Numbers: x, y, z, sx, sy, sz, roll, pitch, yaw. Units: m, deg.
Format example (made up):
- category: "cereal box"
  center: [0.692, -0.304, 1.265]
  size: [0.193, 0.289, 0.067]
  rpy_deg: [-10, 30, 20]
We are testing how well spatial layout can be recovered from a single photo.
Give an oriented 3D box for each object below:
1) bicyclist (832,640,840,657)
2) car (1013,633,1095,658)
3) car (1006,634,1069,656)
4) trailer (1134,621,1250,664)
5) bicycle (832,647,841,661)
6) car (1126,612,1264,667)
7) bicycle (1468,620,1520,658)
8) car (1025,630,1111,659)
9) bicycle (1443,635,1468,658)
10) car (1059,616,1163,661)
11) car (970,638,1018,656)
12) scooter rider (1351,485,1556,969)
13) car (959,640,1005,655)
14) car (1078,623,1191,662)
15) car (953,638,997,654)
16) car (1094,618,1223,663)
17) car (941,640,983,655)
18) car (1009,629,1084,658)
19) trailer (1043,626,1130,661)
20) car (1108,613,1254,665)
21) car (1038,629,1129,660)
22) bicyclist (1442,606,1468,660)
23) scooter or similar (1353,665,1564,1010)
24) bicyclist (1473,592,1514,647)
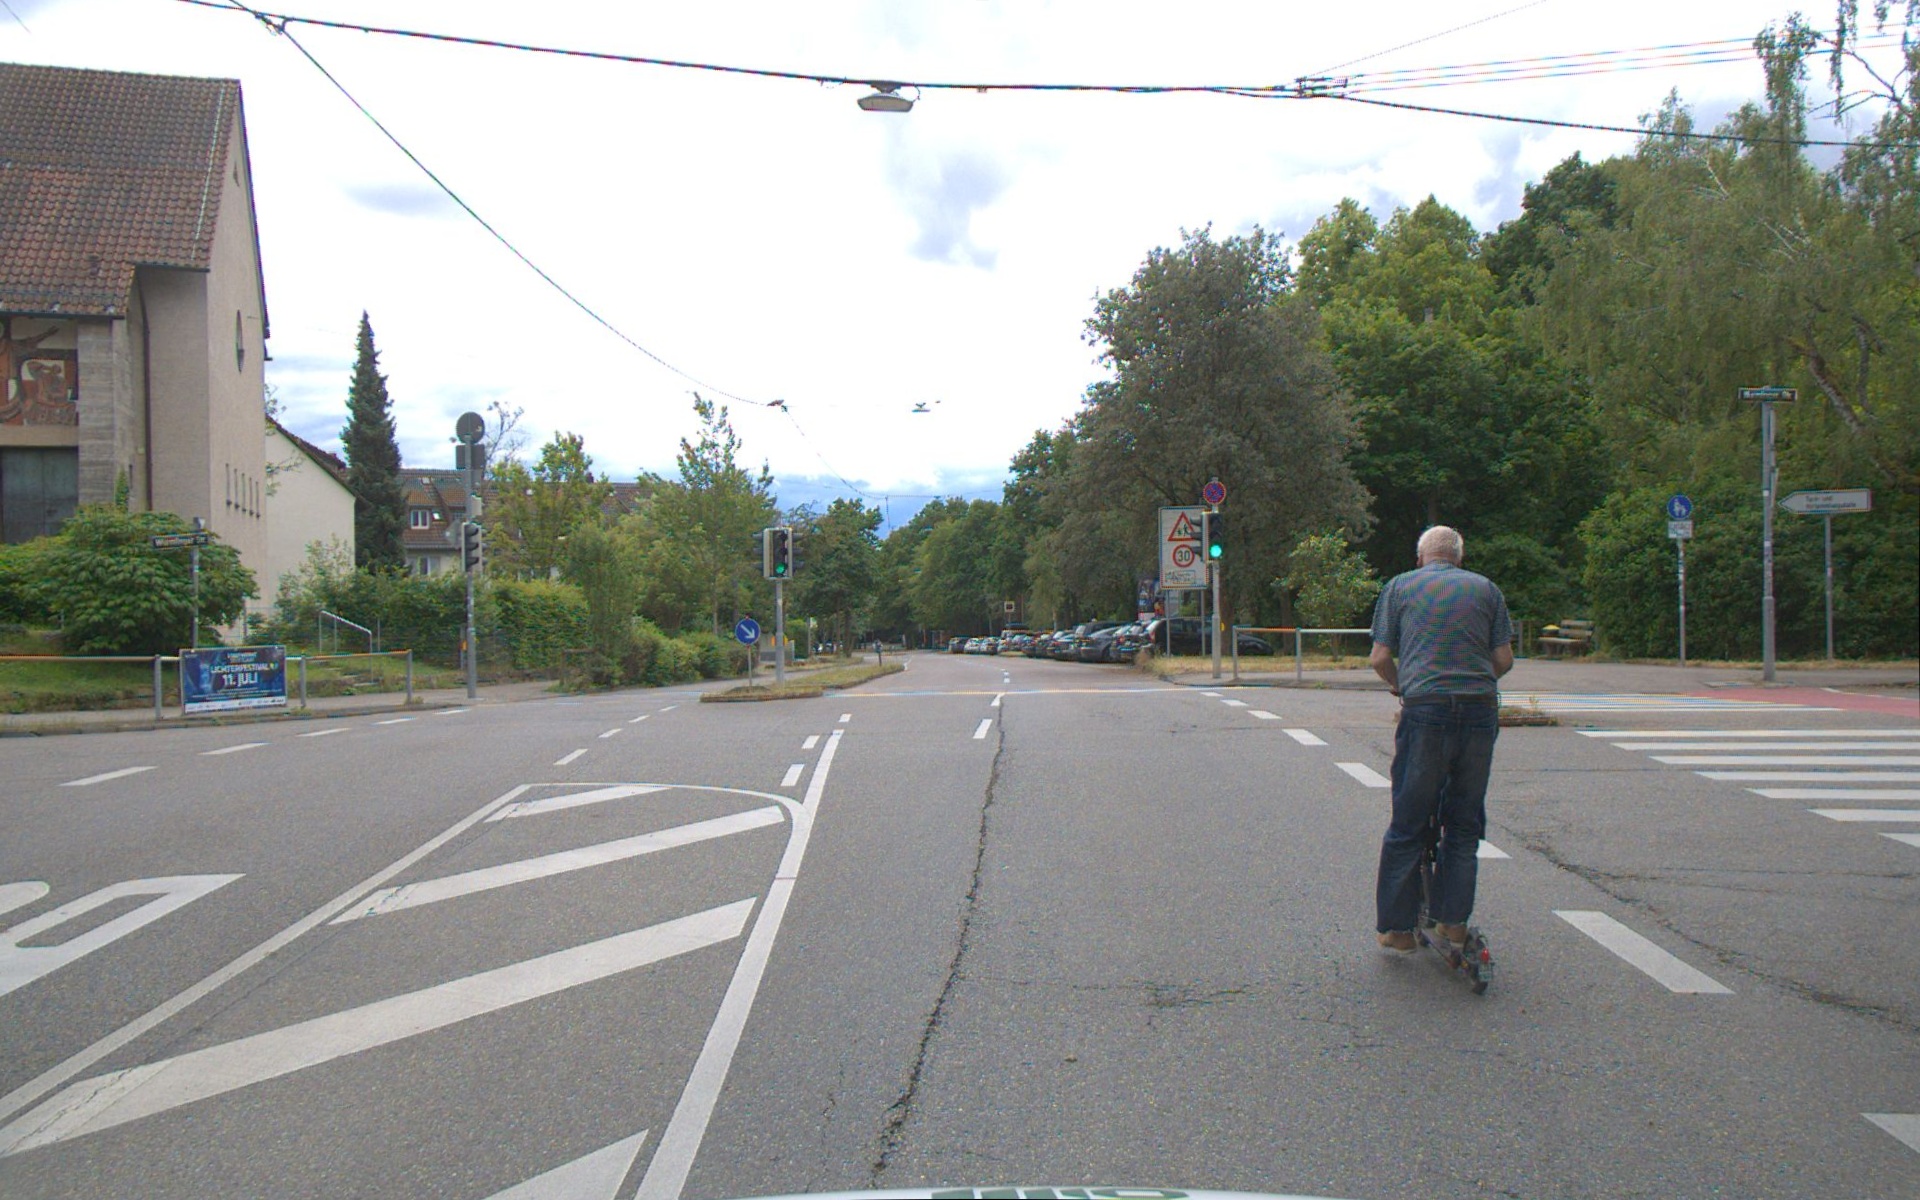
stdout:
- category: "bicyclist"
  center: [-12.590, 4.923, 167.977]
  size: [0.828, 1.727, 0.713]
  rpy_deg: [-1, -1, -3]
- category: "car"
  center: [5.279, 2.550, 92.869]
  size: [4.242, 1.365, 1.726]
  rpy_deg: [0, -2, -16]
- category: "car"
  center: [5.220, 3.029, 111.069]
  size: [3.901, 1.430, 1.748]
  rpy_deg: [0, -2, -17]
- category: "trailer"
  center: [7.394, 1.350, 52.829]
  size: [3.341, 1.289, 1.612]
  rpy_deg: [-1, -2, -12]
- category: "bicycle"
  center: [-12.572, 5.483, 167.884]
  size: [0.828, 1.288, 2.650]
  rpy_deg: [-1, -1, -3]
- category: "car"
  center: [6.697, 1.128, 47.341]
  size: [3.643, 1.502, 1.575]
  rpy_deg: [-1, -1, -5]
- category: "bicycle"
  center: [11.720, 0.852, 36.350]
  size: [0.626, 0.772, 1.681]
  rpy_deg: [-1, 0, 2]
- category: "car"
  center: [5.719, 2.332, 87.429]
  size: [4.274, 1.471, 1.626]
  rpy_deg: [0, -1, -17]
- category: "bicycle"
  center: [11.525, 1.087, 38.477]
  size: [0.507, 0.506, 0.989]
  rpy_deg: [-2, -3, 14]
- category: "car"
  center: [6.132, 1.588, 67.282]
  size: [3.915, 1.755, 1.676]
  rpy_deg: [0, -2, -11]
- category: "car"
  center: [2.923, 4.062, 143.778]
  size: [3.833, 1.474, 1.731]
  rpy_deg: [0, -2, -24]
- category: "scooter rider"
  center: [1.947, 0.458, 6.661]
  size: [0.667, 1.760, 1.198]
  rpy_deg: [-1, 0, 11]
- category: "car"
  center: [1.992, 4.262, 148.455]
  size: [3.837, 1.332, 1.728]
  rpy_deg: [0, -2, -27]
- category: "car"
  center: [6.788, 1.653, 64.492]
  size: [4.087, 1.431, 1.692]
  rpy_deg: [0, -2, -13]
- category: "car"
  center: [1.426, 4.386, 156.941]
  size: [3.830, 1.454, 1.732]
  rpy_deg: [0, -2, -22]
- category: "car"
  center: [6.916, 1.405, 57.761]
  size: [4.143, 1.490, 1.630]
  rpy_deg: [0, -2, -11]
- category: "car"
  center: [0.199, 4.768, 166.884]
  size: [3.830, 1.454, 1.732]
  rpy_deg: [0, -2, -22]
- category: "car"
  center: [5.008, 2.519, 95.706]
  size: [4.018, 1.542, 1.720]
  rpy_deg: [-1, -2, -24]
- category: "trailer"
  center: [5.722, 1.949, 74.876]
  size: [3.625, 1.562, 1.640]
  rpy_deg: [0, -2, -14]
- category: "car"
  center: [6.641, 1.178, 49.733]
  size: [4.063, 1.502, 1.571]
  rpy_deg: [0, -2, -13]
- category: "car"
  center: [5.727, 2.079, 77.100]
  size: [3.964, 1.351, 1.555]
  rpy_deg: [0, -2, -11]
- category: "bicyclist"
  center: [11.522, 0.774, 38.486]
  size: [0.507, 1.208, 0.968]
  rpy_deg: [-2, -3, 14]
- category: "scooter or similar"
  center: [1.966, 0.882, 6.688]
  size: [0.667, 1.159, 1.461]
  rpy_deg: [-1, 0, 11]
- category: "bicyclist"
  center: [11.716, 0.428, 36.328]
  size: [0.626, 1.182, 0.804]
  rpy_deg: [-1, 0, 2]
